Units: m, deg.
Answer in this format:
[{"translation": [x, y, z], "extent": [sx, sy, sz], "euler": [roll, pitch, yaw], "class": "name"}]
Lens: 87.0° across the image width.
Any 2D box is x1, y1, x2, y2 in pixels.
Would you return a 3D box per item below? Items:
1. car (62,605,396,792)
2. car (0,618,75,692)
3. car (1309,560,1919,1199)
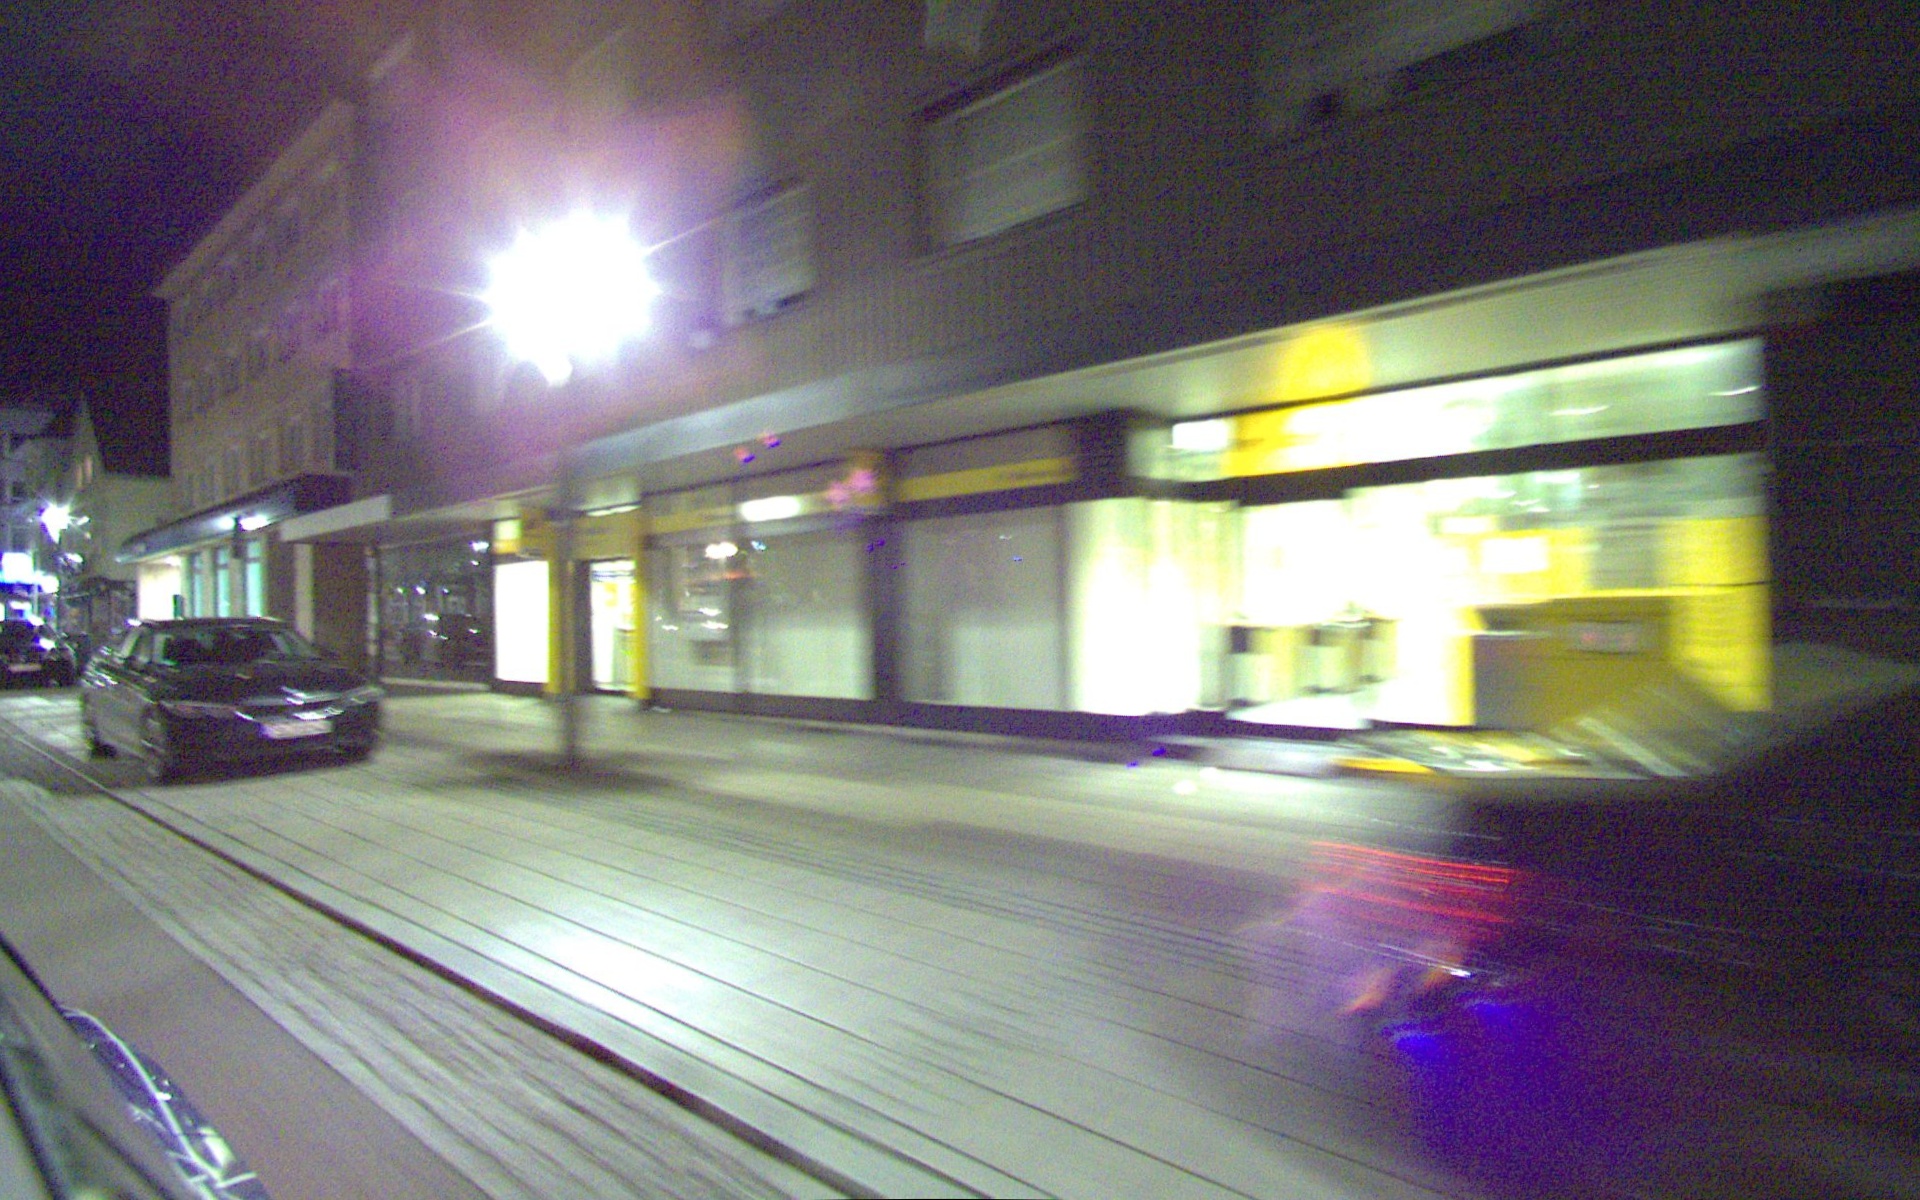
[{"translation": [-7.580, 0.842, 10.324], "extent": [4.318, 1.489, 1.779], "euler": [-1, 0, 40], "class": "car"}, {"translation": [-21.206, 1.177, 22.259], "extent": [4.617, 1.475, 1.827], "euler": [-1, 0, 39], "class": "car"}, {"translation": [2.869, 0.610, 1.091], "extent": [4.384, 1.423, 1.699], "euler": [-2, 0, 42], "class": "car"}]
